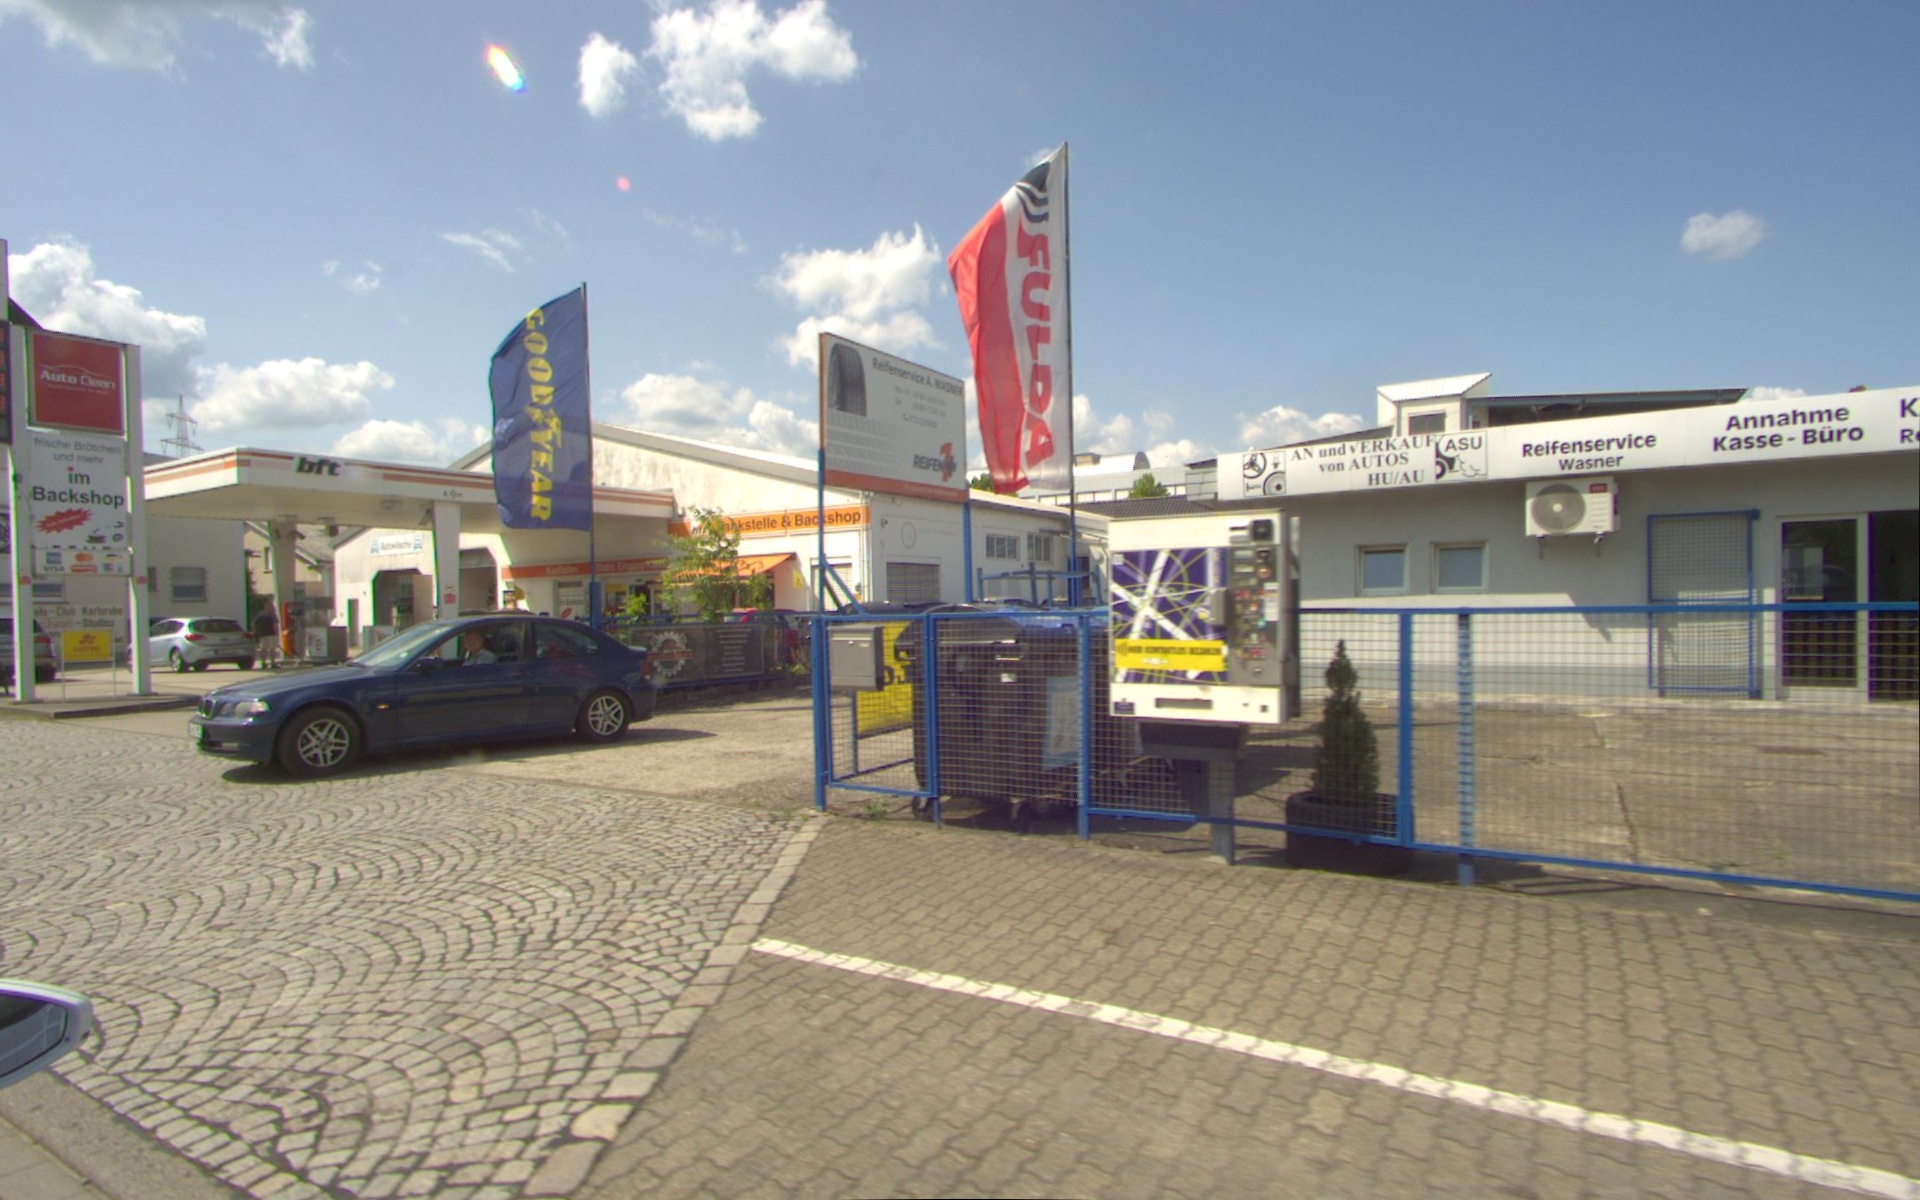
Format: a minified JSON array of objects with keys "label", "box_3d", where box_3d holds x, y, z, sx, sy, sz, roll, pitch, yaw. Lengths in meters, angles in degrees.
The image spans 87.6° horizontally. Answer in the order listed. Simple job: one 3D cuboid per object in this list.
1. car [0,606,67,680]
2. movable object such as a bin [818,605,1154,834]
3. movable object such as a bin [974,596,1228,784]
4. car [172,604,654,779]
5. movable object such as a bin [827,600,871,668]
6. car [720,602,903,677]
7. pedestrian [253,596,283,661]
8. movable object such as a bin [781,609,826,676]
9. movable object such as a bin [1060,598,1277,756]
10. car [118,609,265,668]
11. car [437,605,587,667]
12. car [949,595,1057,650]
[{"label":"car","box_3d":[-23.202,1.015,23.779,4.552,1.646,1.941,-1,-1,34]},{"label":"movable object such as a bin","box_3d":[0.251,0.763,7.252,1.684,1.364,1.960,-2,-2,31]},{"label":"movable object such as a bin","box_3d":[1.253,0.735,8.767,1.740,1.428,1.529,-2,-2,32]},{"label":"car","box_3d":[-5.356,0.806,10.239,1.628,1.426,4.035,-2,-2,40]},{"label":"movable object such as a bin","box_3d":[-2.331,0.703,21.072,0.696,1.409,0.579,-1,1,31]},{"label":"car","box_3d":[-3.218,0.827,22.440,1.747,1.443,4.124,-2,0,33]},{"label":"pedestrian","box_3d":[-19.410,0.815,28.084,0.569,1.799,0.496,-1,-2,30]},{"label":"movable object such as a bin","box_3d":[-3.122,0.848,19.999,0.696,1.313,0.580,-1,-2,31]},{"label":"movable object such as a bin","box_3d":[2.133,0.740,10.145,1.740,1.428,1.529,-2,-2,32]},{"label":"car","box_3d":[-21.558,1.083,28.051,4.358,1.490,1.689,-2,0,30]},{"label":"car","box_3d":[-12.480,0.932,27.827,4.428,1.540,1.679,1,1,33]},{"label":"car","box_3d":[1.304,0.629,28.994,1.507,1.443,3.574,-2,0,33]}]
